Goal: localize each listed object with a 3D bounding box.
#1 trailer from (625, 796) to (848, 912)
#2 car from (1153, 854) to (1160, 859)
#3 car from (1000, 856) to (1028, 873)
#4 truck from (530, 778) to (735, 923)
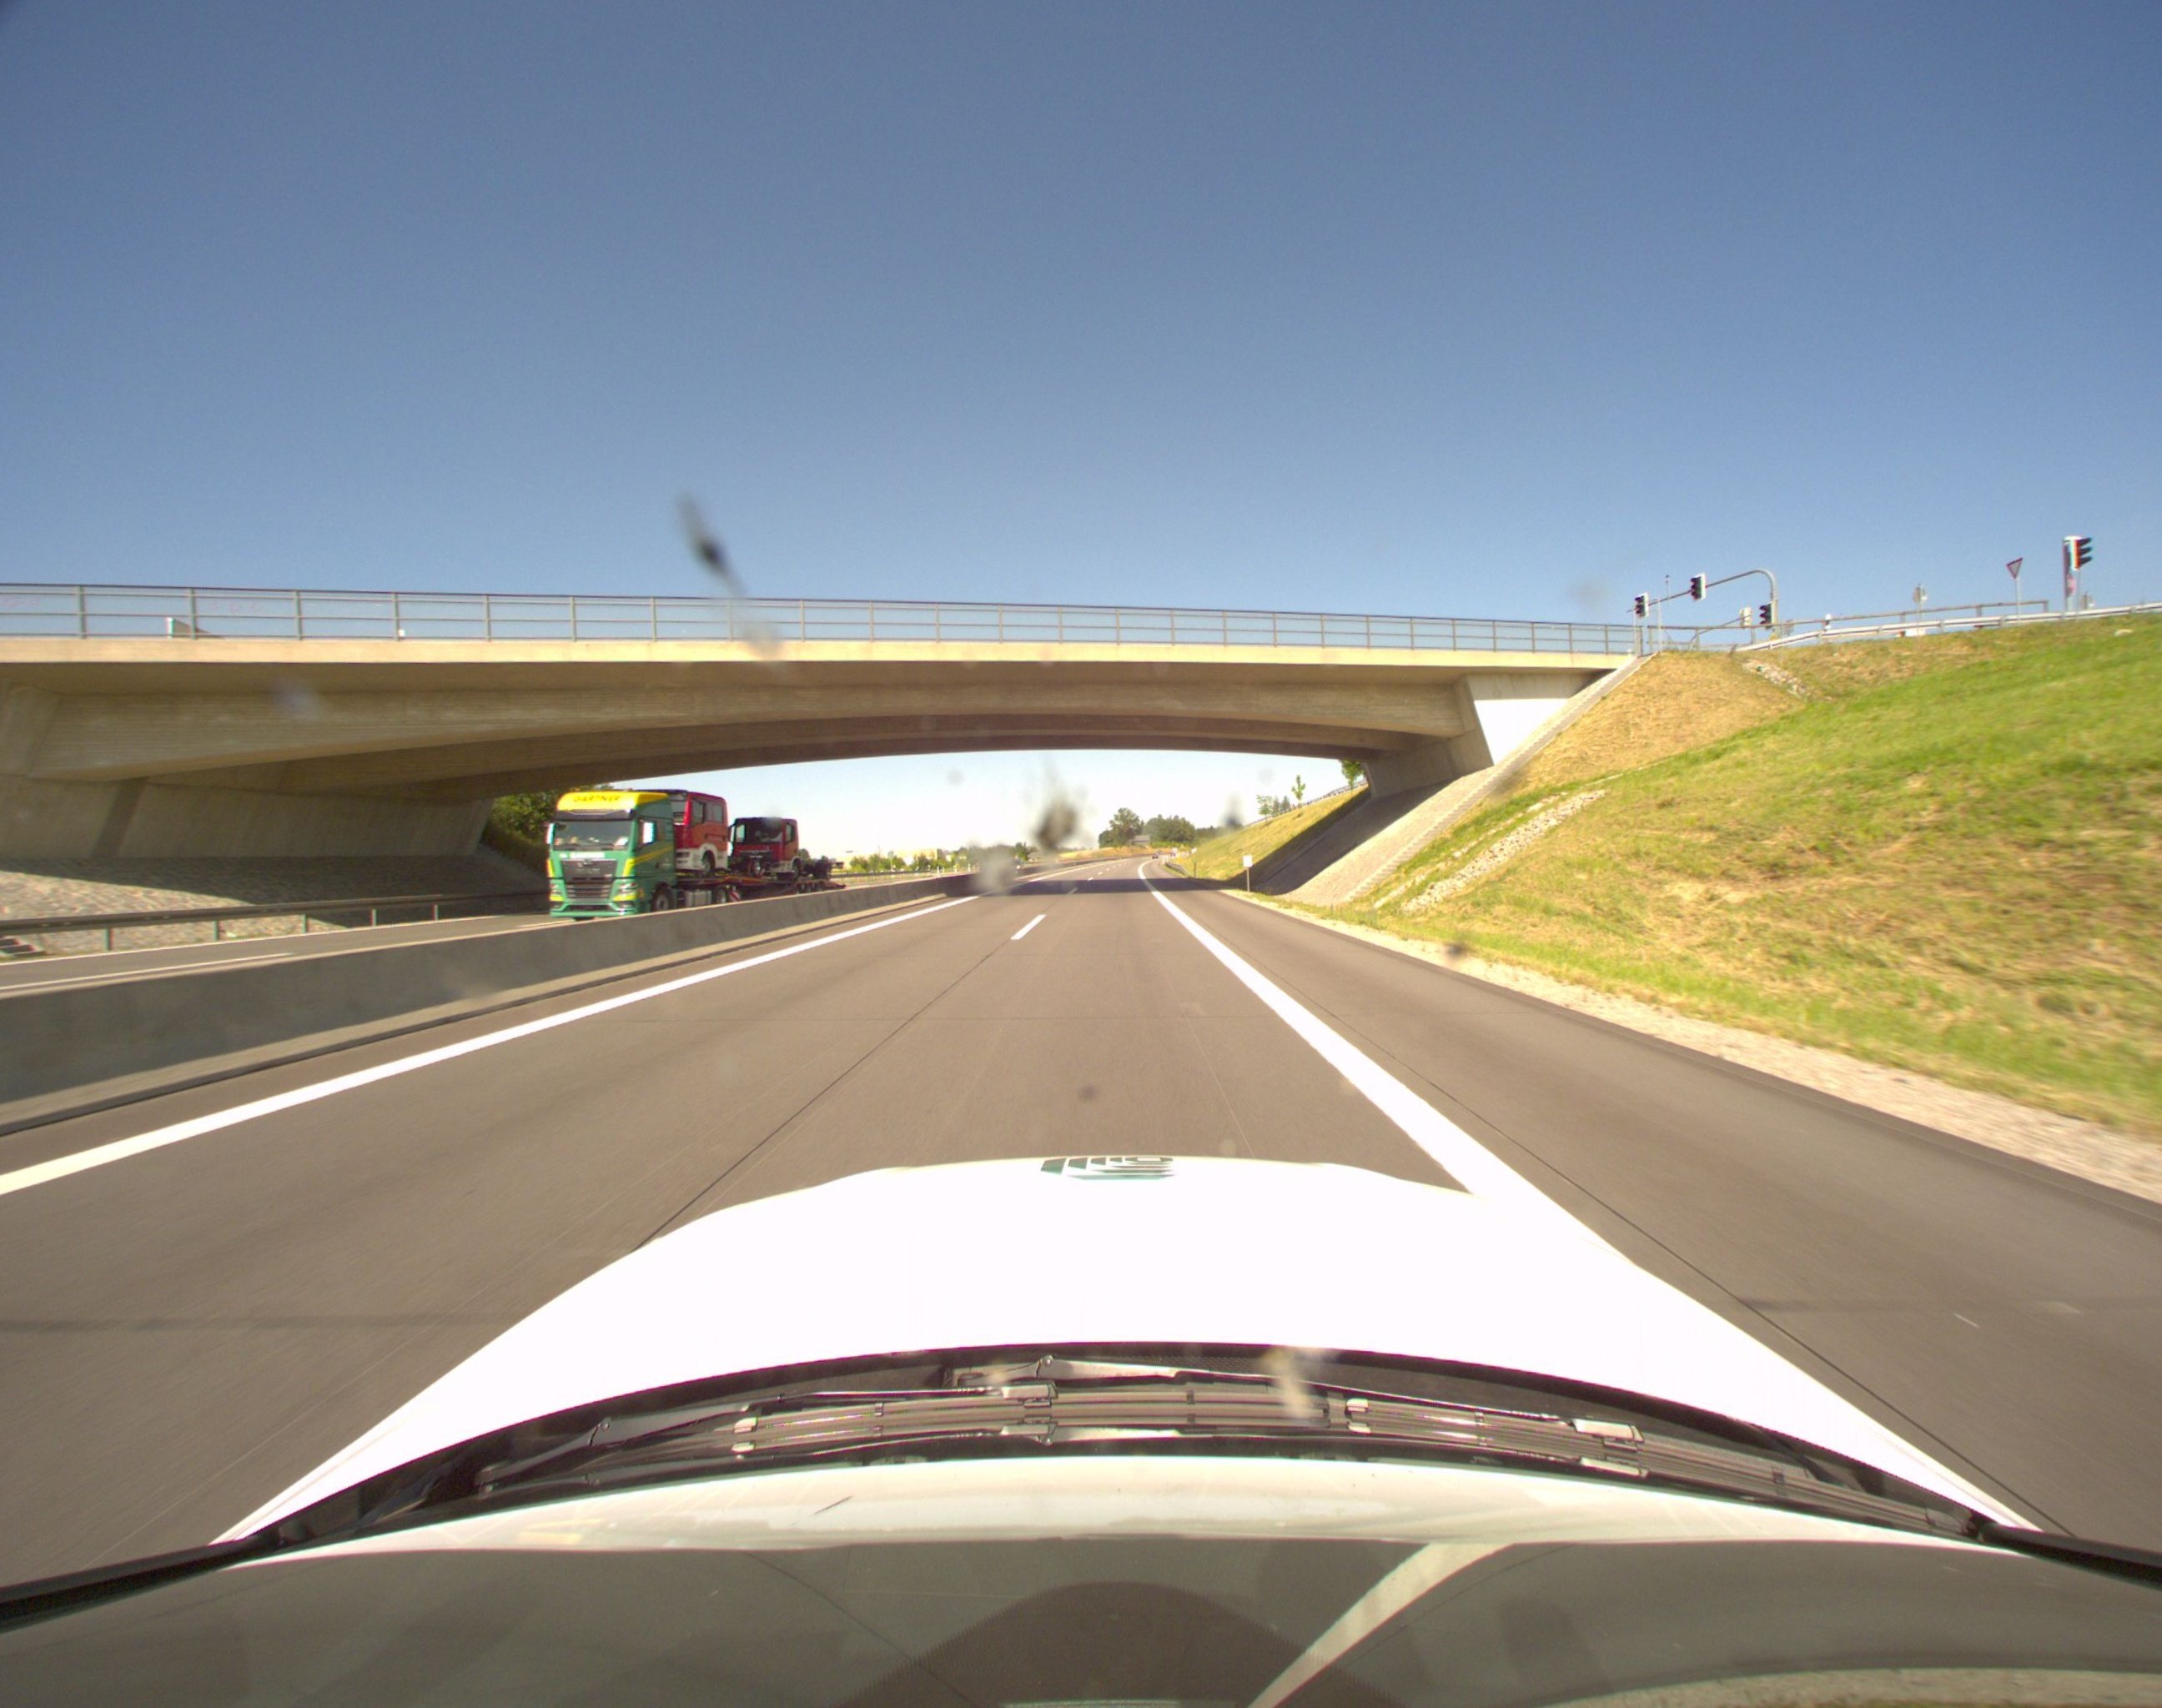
[{"bbox_3d":[-12.841,0.010,32.516,2.654,3.657,13.245,-1,0,3],"label":"trailer"},{"bbox_3d":[22.925,0.760,246.850,1.985,1.420,4.004,-3,0,4],"label":"car"},{"bbox_3d":[-6.625,1.017,81.126,2.061,1.574,4.930,-1,0,3],"label":"car"},{"bbox_3d":[-13.217,-0.086,24.668,2.724,3.832,5.834,-1,0,2],"label":"truck"}]
